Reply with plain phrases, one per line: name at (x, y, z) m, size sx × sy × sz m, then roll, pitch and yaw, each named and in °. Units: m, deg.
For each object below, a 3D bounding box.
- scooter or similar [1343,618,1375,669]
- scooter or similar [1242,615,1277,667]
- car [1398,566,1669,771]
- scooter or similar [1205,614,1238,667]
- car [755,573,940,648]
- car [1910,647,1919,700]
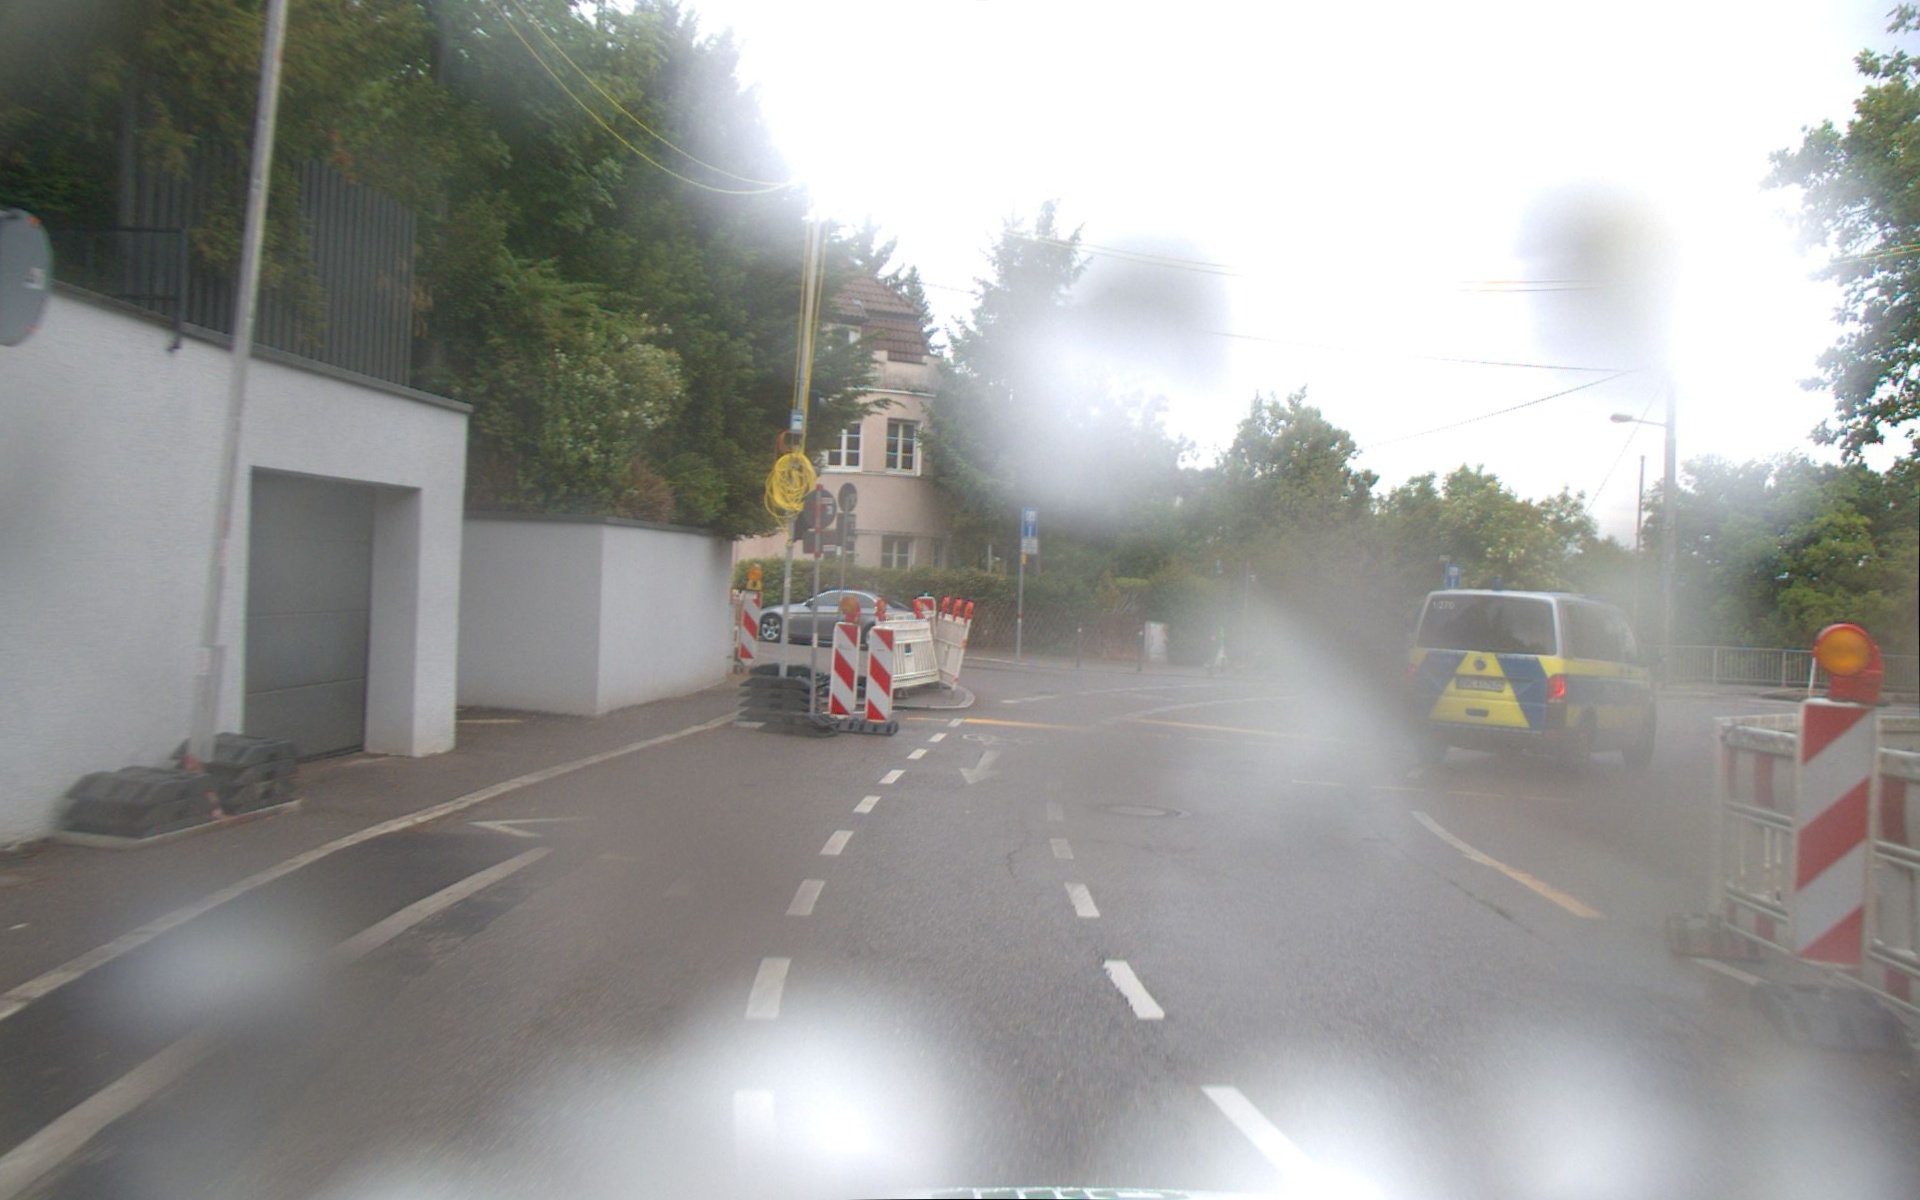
scooter or similar at (9.408, 1.012, 39.005) m, size 0.455 × 1.164 × 0.833 m, roll 3°, pitch -1°, yaw -6°
scooter or similar at (6.948, 0.945, 38.379) m, size 0.455 × 1.164 × 0.993 m, roll 3°, pitch -1°, yaw -8°
car at (6.773, 0.776, 19.209) m, size 1.875 × 2.045 × 4.425 m, roll 2°, pitch -1°, yaw 34°
scooter or similar at (6.161, 0.950, 38.995) m, size 0.455 × 1.207 × 1.023 m, roll 3°, pitch -1°, yaw -8°
car at (-2.643, 0.244, 38.909) m, size 3.906 × 1.544 × 1.728 m, roll 2°, pitch -1°, yaw 22°
car at (26.620, 1.897, 42.117) m, size 3.909 × 1.355 × 1.796 m, roll 0°, pitch -1°, yaw -5°
